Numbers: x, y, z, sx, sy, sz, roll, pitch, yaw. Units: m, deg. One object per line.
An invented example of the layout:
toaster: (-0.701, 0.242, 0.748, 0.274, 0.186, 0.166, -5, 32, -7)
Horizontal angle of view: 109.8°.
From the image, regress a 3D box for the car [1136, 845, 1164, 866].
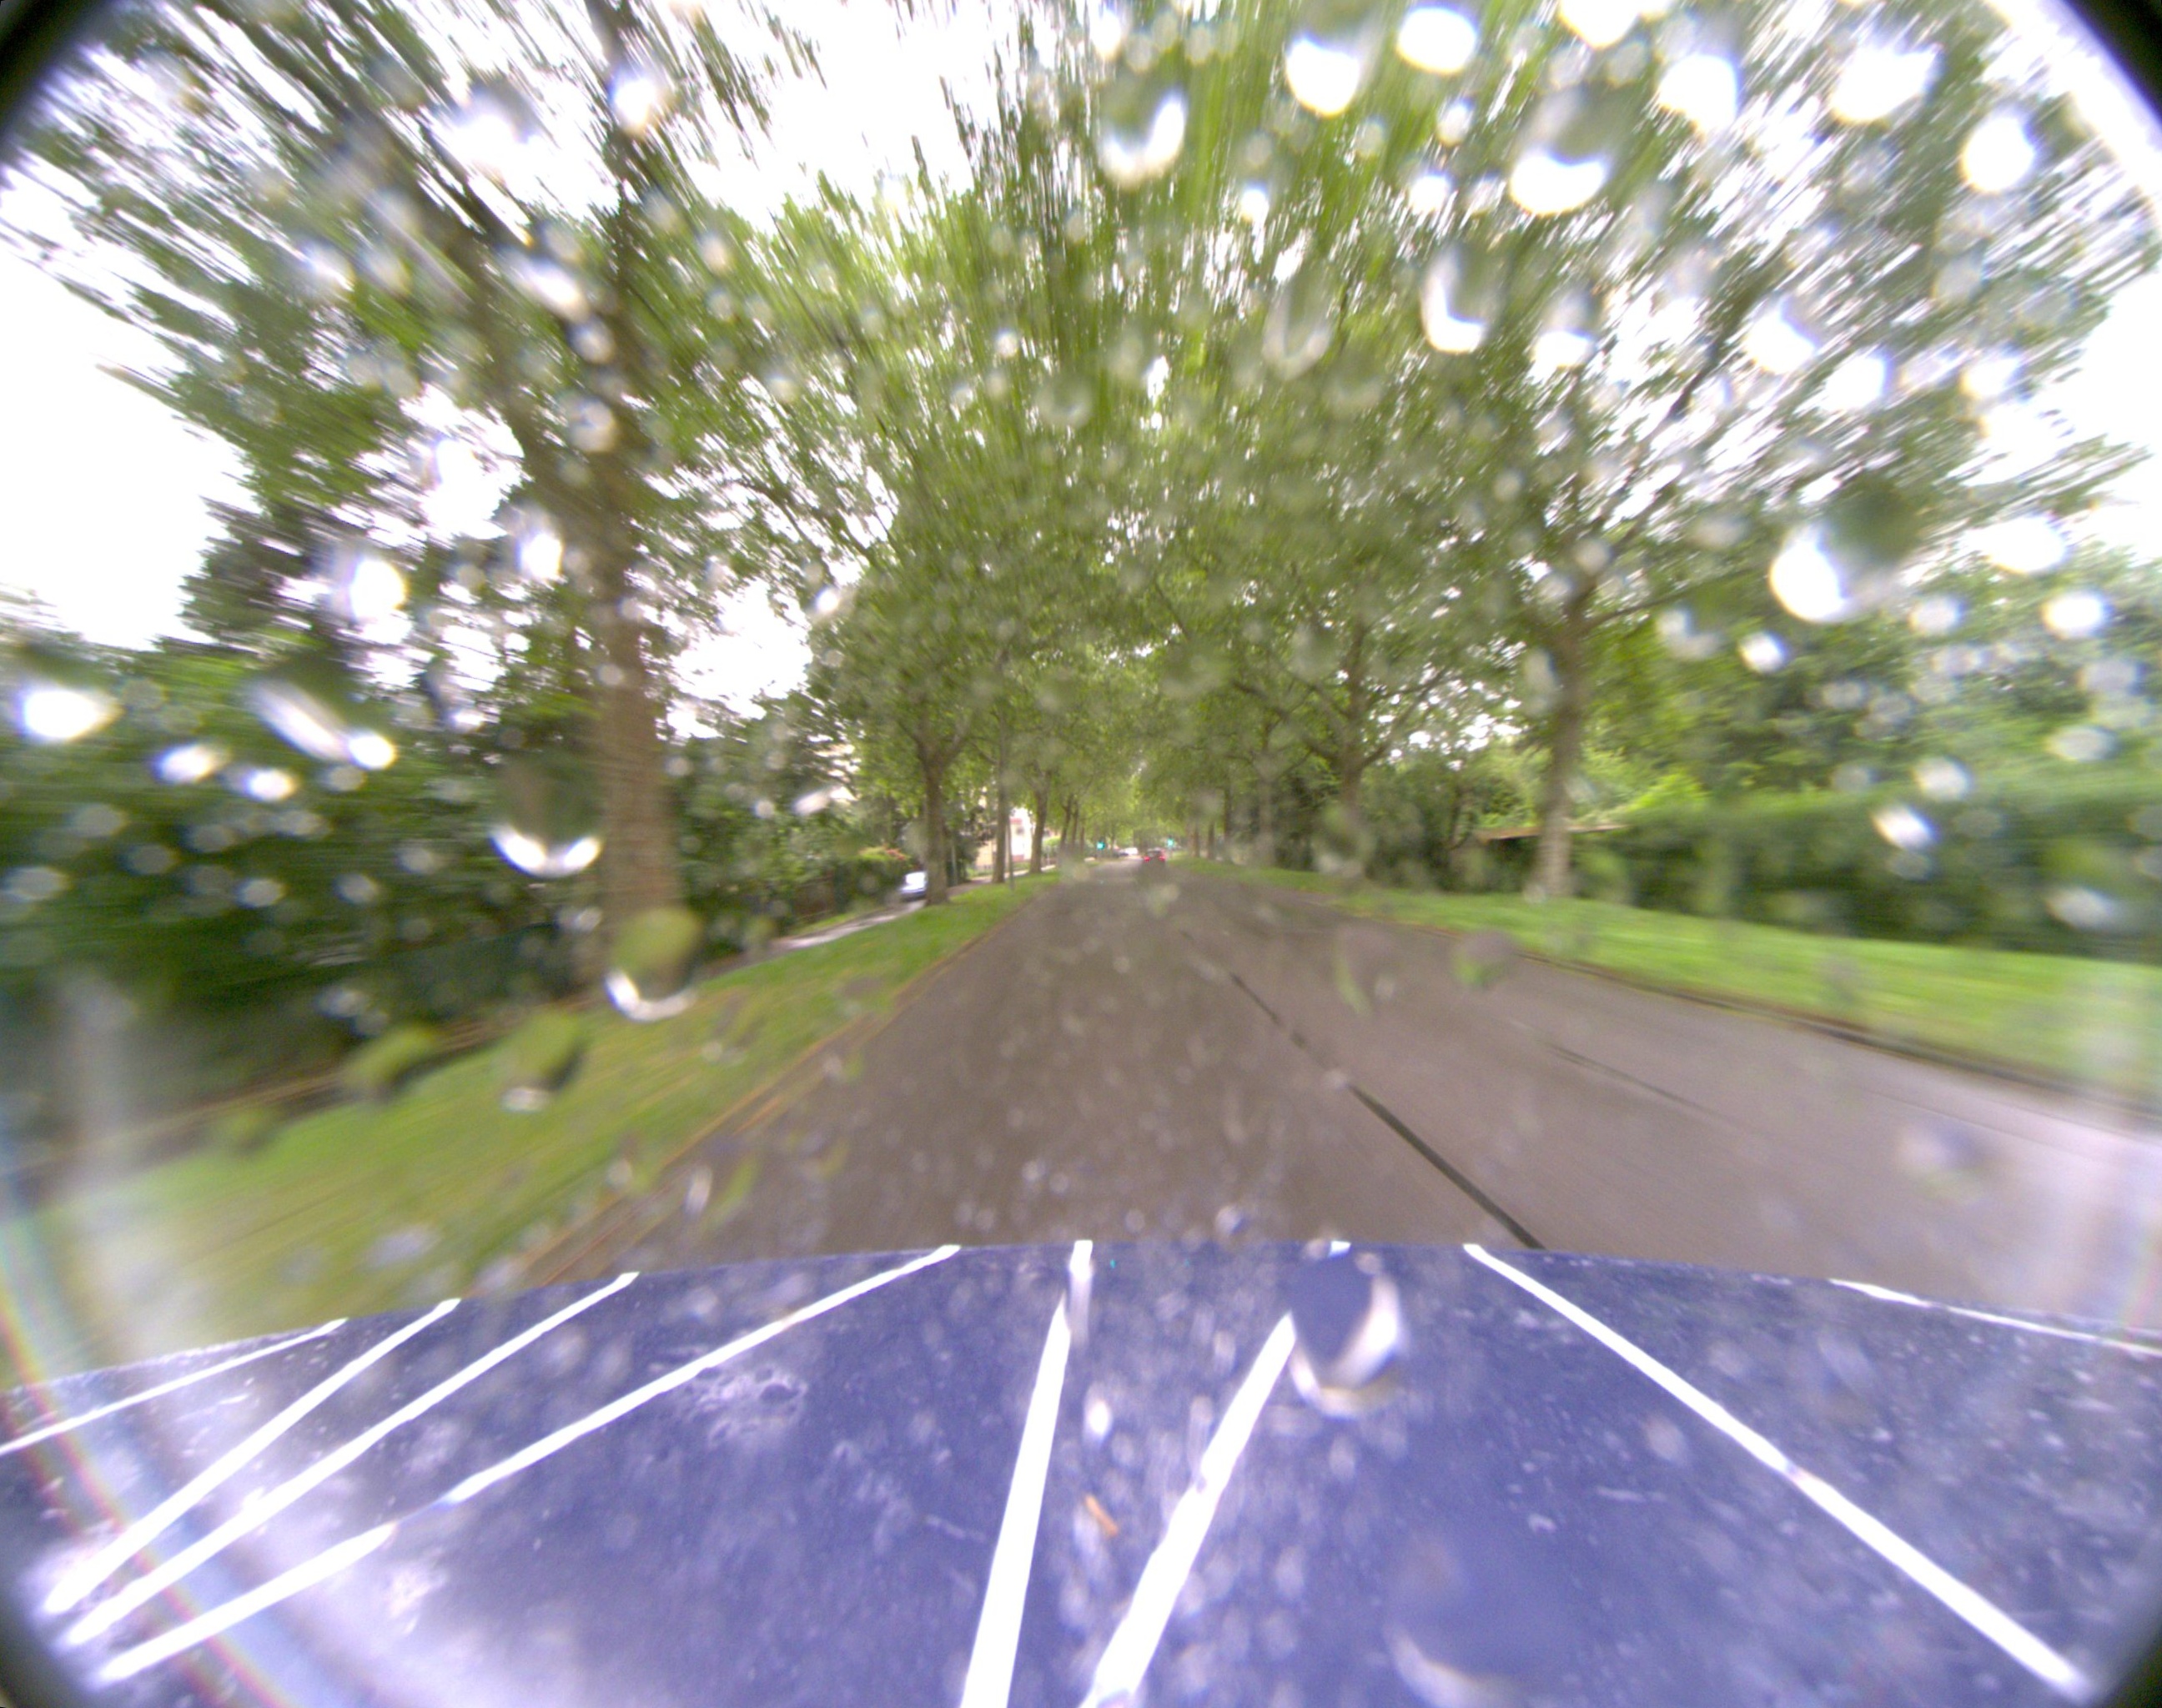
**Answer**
car: (5.527, 0.095, 61.222, 1.850, 1.493, 3.999, -3, 1, 1)

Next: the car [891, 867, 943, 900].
car: (-8.652, 1.522, 40.460, 1.800, 1.318, 3.999, -7, 1, -1)

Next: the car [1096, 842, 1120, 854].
car: (4.833, -1.119, 135.726, 4.261, 1.846, 1.892, -3, 1, 3)

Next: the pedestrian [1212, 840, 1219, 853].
pedestrian: (15.799, -0.854, 89.315, 0.599, 1.445, 0.857, -3, 1, 5)

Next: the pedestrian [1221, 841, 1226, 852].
pedestrian: (16.736, -0.856, 89.233, 0.517, 1.254, 0.849, -3, 1, 5)
